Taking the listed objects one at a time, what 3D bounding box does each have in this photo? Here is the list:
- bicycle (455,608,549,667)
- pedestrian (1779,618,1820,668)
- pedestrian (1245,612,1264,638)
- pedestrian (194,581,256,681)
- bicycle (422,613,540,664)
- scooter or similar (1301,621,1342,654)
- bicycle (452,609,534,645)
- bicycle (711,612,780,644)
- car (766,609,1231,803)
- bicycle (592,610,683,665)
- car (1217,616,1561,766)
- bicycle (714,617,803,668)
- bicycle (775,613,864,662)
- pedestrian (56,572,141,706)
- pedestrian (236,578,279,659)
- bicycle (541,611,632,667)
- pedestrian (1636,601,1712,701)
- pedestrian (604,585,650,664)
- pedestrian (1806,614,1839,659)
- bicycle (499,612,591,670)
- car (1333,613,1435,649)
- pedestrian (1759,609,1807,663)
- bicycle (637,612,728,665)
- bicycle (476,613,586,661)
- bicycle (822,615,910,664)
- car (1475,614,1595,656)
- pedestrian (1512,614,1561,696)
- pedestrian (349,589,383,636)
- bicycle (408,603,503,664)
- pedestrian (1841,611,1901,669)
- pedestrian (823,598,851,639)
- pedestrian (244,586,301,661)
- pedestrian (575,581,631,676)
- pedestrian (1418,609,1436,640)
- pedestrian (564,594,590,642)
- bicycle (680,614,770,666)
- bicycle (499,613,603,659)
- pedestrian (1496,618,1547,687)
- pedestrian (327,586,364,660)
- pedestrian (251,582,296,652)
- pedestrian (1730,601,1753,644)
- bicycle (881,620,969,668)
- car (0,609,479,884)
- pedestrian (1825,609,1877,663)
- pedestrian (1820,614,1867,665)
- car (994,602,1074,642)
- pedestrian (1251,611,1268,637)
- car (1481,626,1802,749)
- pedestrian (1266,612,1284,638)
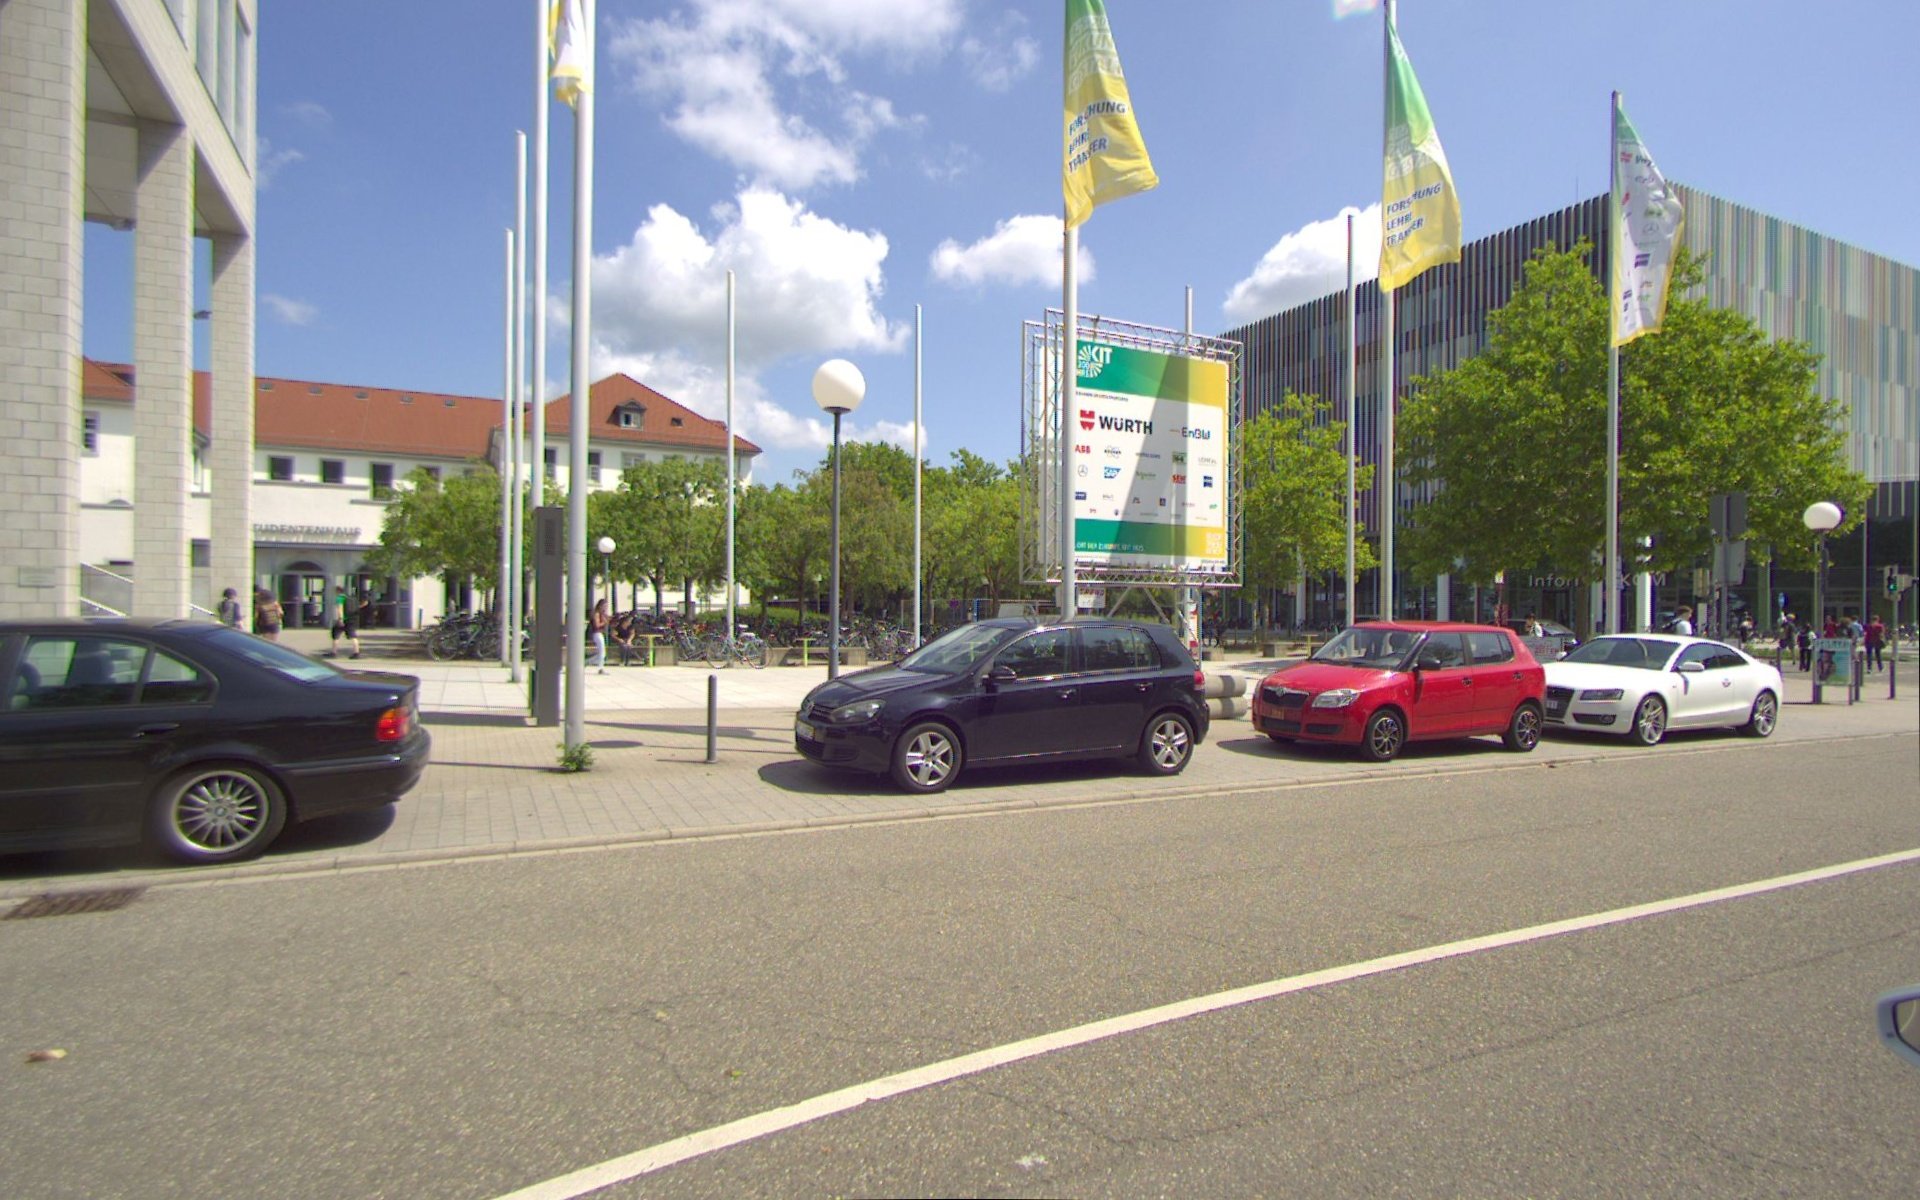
[{"bbox_3d":[-12.055,0.942,26.388,2.908,1.430,1.142,1,0,41],"label":"bicycle"},{"bbox_3d":[27.714,1.417,33.167,0.788,1.619,0.768,1,-1,-25],"label":"pedestrian"},{"bbox_3d":[25.099,2.118,85.615,1.114,2.205,0.969,1,0,-27],"label":"pedestrian"},{"bbox_3d":[-13.542,0.559,18.513,0.727,1.780,0.756,0,-1,40],"label":"pedestrian"},{"bbox_3d":[-14.202,1.121,29.863,2.895,1.430,1.147,1,0,-5],"label":"bicycle"},{"bbox_3d":[13.655,1.393,37.971,0.486,1.212,1.726,1,-1,-20],"label":"scooter or similar"},{"bbox_3d":[-19.016,1.093,40.971,2.905,1.430,1.143,1,0,-19],"label":"bicycle"},{"bbox_3d":[-9.955,1.293,46.624,2.914,1.430,1.205,1,0,-28],"label":"bicycle"},{"bbox_3d":[0.389,0.881,9.680,4.140,1.487,1.742,1,1,-26],"label":"car"},{"bbox_3d":[-9.230,1.036,28.667,2.908,1.430,1.142,1,0,41],"label":"bicycle"},{"bbox_3d":[5.142,0.983,11.997,3.859,1.487,1.671,1,1,-27],"label":"car"},{"bbox_3d":[-6.222,1.276,30.942,2.908,1.430,1.142,1,0,41],"label":"bicycle"},{"bbox_3d":[-4.406,1.140,31.331,2.908,1.430,1.142,1,0,41],"label":"bicycle"},{"bbox_3d":[-11.892,0.521,13.874,0.747,1.780,0.735,0,-1,37],"label":"pedestrian"},{"bbox_3d":[-18.140,0.479,25.954,0.726,2.040,0.756,1,0,-24],"label":"pedestrian"},{"bbox_3d":[-10.517,1.067,28.214,2.908,1.430,1.142,1,0,41],"label":"bicycle"},{"bbox_3d":[13.821,0.973,19.457,1.073,1.876,0.718,1,1,-23],"label":"pedestrian"},{"bbox_3d":[-8.485,0.622,25.568,0.933,1.966,0.981,1,-1,-29],"label":"pedestrian"},{"bbox_3d":[33.379,1.402,38.878,0.746,1.701,0.750,1,-1,-28],"label":"pedestrian"},{"bbox_3d":[-11.285,1.076,27.273,2.908,1.430,1.142,1,0,41],"label":"bicycle"},{"bbox_3d":[20.828,1.508,49.549,1.630,1.683,4.795,1,-1,-25],"label":"car"},{"bbox_3d":[29.332,1.285,35.810,0.987,1.901,0.855,0,-1,-4],"label":"pedestrian"},{"bbox_3d":[-8.125,1.089,29.349,2.908,1.430,1.142,1,0,41],"label":"bicycle"},{"bbox_3d":[-13.354,1.145,31.348,2.895,1.430,1.147,1,0,-5],"label":"bicycle"},{"bbox_3d":[-3.033,1.228,32.181,2.908,1.430,1.142,1,0,41],"label":"bicycle"},{"bbox_3d":[24.278,1.426,42.595,1.630,1.683,4.269,0,-1,-25],"label":"car"},{"bbox_3d":[13.664,1.287,23.811,0.759,1.884,0.717,1,0,-25],"label":"pedestrian"},{"bbox_3d":[-26.010,0.536,44.012,0.904,2.040,1.058,1,0,-8],"label":"pedestrian"},{"bbox_3d":[-12.833,0.808,25.503,2.908,1.430,1.142,1,0,41],"label":"bicycle"},{"bbox_3d":[29.213,1.272,32.221,1.244,1.831,0.807,0,-1,-9],"label":"pedestrian"},{"bbox_3d":[-6.724,1.014,55.034,1.150,2.229,1.029,1,-1,-41],"label":"pedestrian"},{"bbox_3d":[-15.315,0.517,22.384,0.722,1.635,0.733,1,0,17],"label":"pedestrian"},{"bbox_3d":[-7.888,0.616,22.177,0.976,2.040,1.051,1,-1,-30],"label":"pedestrian"},{"bbox_3d":[37.026,1.948,79.625,0.879,2.377,0.969,1,0,-27],"label":"pedestrian"},{"bbox_3d":[-18.199,0.842,47.731,1.028,2.229,1.016,1,-1,-28],"label":"pedestrian"},{"bbox_3d":[-7.037,1.170,30.006,2.908,1.430,1.142,1,0,41],"label":"bicycle"},{"bbox_3d":[-13.253,1.155,32.650,2.895,1.430,1.147,1,0,-5],"label":"bicycle"},{"bbox_3d":[13.868,1.280,24.808,0.736,1.673,0.841,1,0,-25],"label":"pedestrian"},{"bbox_3d":[-15.406,0.574,25.203,0.729,1.797,0.754,1,0,-28],"label":"pedestrian"},{"bbox_3d":[-18.487,0.446,27.045,0.687,1.861,0.760,1,0,28],"label":"pedestrian"},{"bbox_3d":[48.966,1.403,62.946,0.958,2.599,1.013,1,0,27],"label":"pedestrian"},{"bbox_3d":[-1.146,1.378,32.331,2.908,1.430,1.060,1,0,41],"label":"bicycle"},{"bbox_3d":[-5.692,0.791,6.098,4.949,1.397,1.853,1,1,-26],"label":"car"},{"bbox_3d":[31.318,1.259,35.304,1.075,1.843,0.864,0,-1,-3],"label":"pedestrian"},{"bbox_3d":[29.909,1.331,34.019,0.846,1.677,0.827,0,0,-10],"label":"pedestrian"},{"bbox_3d":[3.704,1.121,51.238,1.843,1.965,4.741,1,-1,-28],"label":"car"},{"bbox_3d":[26.318,2.096,88.284,1.001,2.231,0.969,1,0,-27],"label":"pedestrian"},{"bbox_3d":[9.581,1.125,14.060,4.601,1.414,1.670,1,1,-27],"label":"car"},{"bbox_3d":[26.479,2.099,84.390,1.114,2.205,0.969,1,0,-27],"label":"pedestrian"}]
